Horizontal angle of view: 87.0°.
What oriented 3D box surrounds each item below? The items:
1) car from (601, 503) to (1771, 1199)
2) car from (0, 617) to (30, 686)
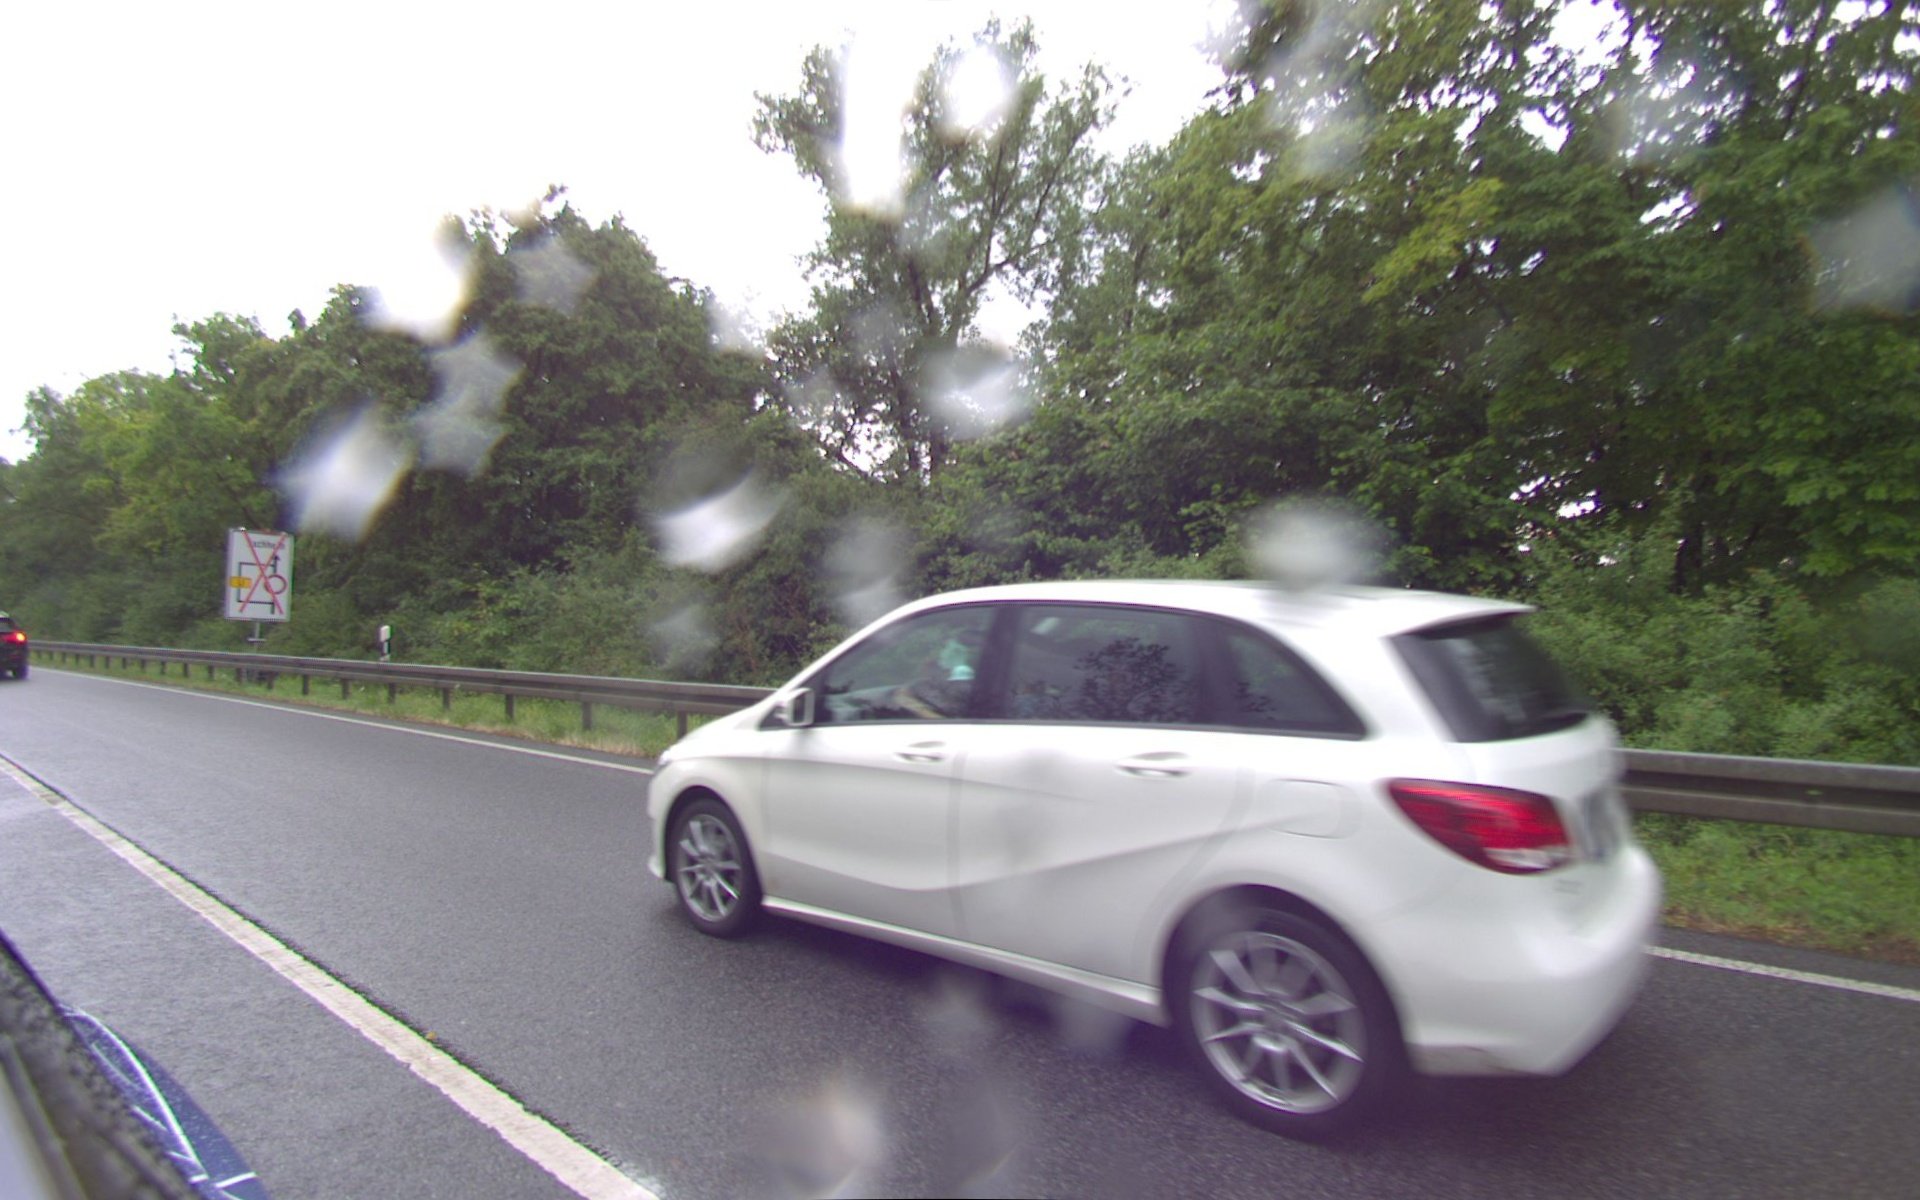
[{"bbox_3d":[0.431,0.597,4.151,4.441,1.567,1.673,-1,0,42],"label":"car"},{"bbox_3d":[-24.982,1.284,25.481,4.295,1.656,1.828,-1,0,41],"label":"car"}]
